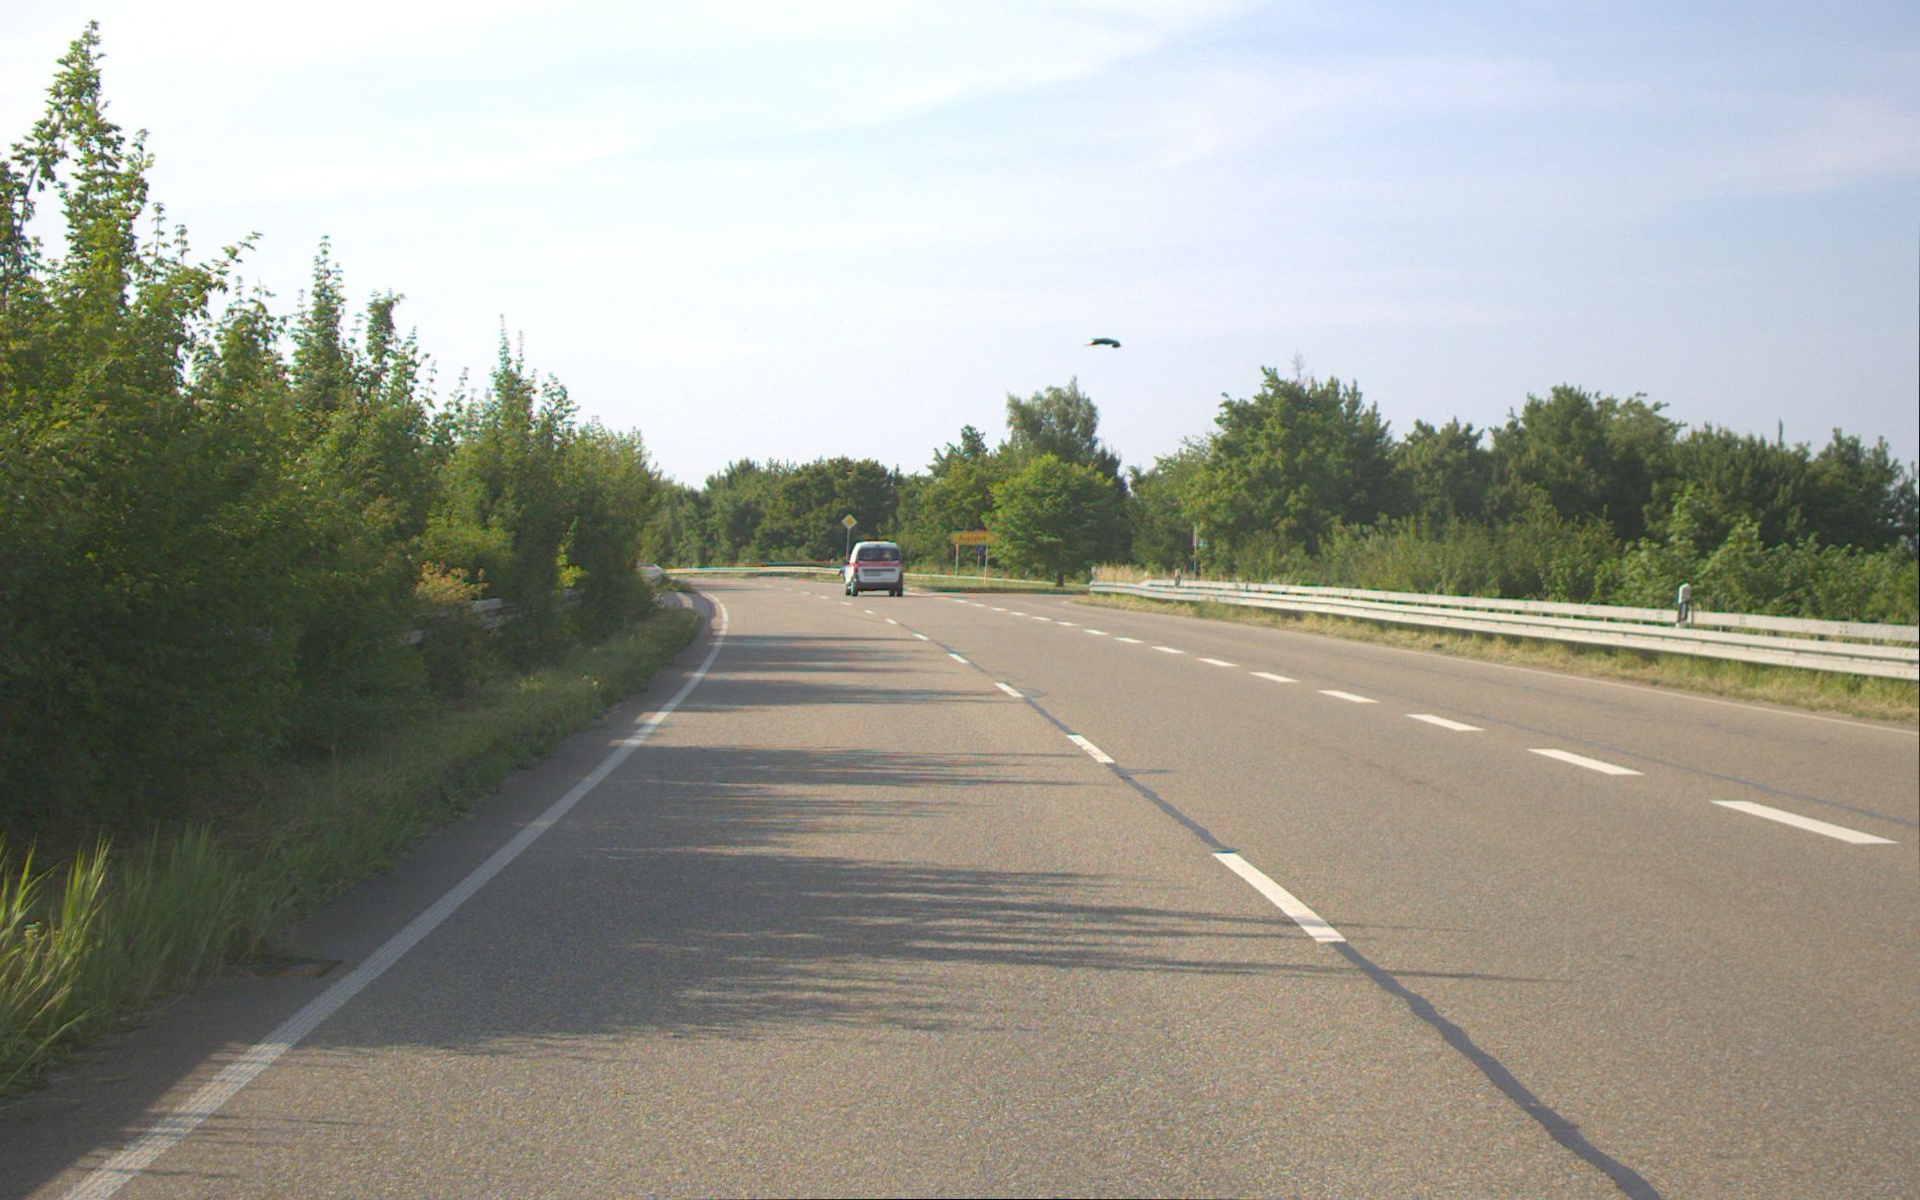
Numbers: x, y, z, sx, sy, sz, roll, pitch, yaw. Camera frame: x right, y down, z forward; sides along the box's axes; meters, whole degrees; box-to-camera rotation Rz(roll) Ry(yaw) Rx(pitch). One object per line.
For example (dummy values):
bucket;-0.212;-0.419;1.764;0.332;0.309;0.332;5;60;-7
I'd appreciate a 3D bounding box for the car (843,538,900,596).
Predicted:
car;-2.925;-1.076;114.638;1.765;1.875;4.000;1;0;0
